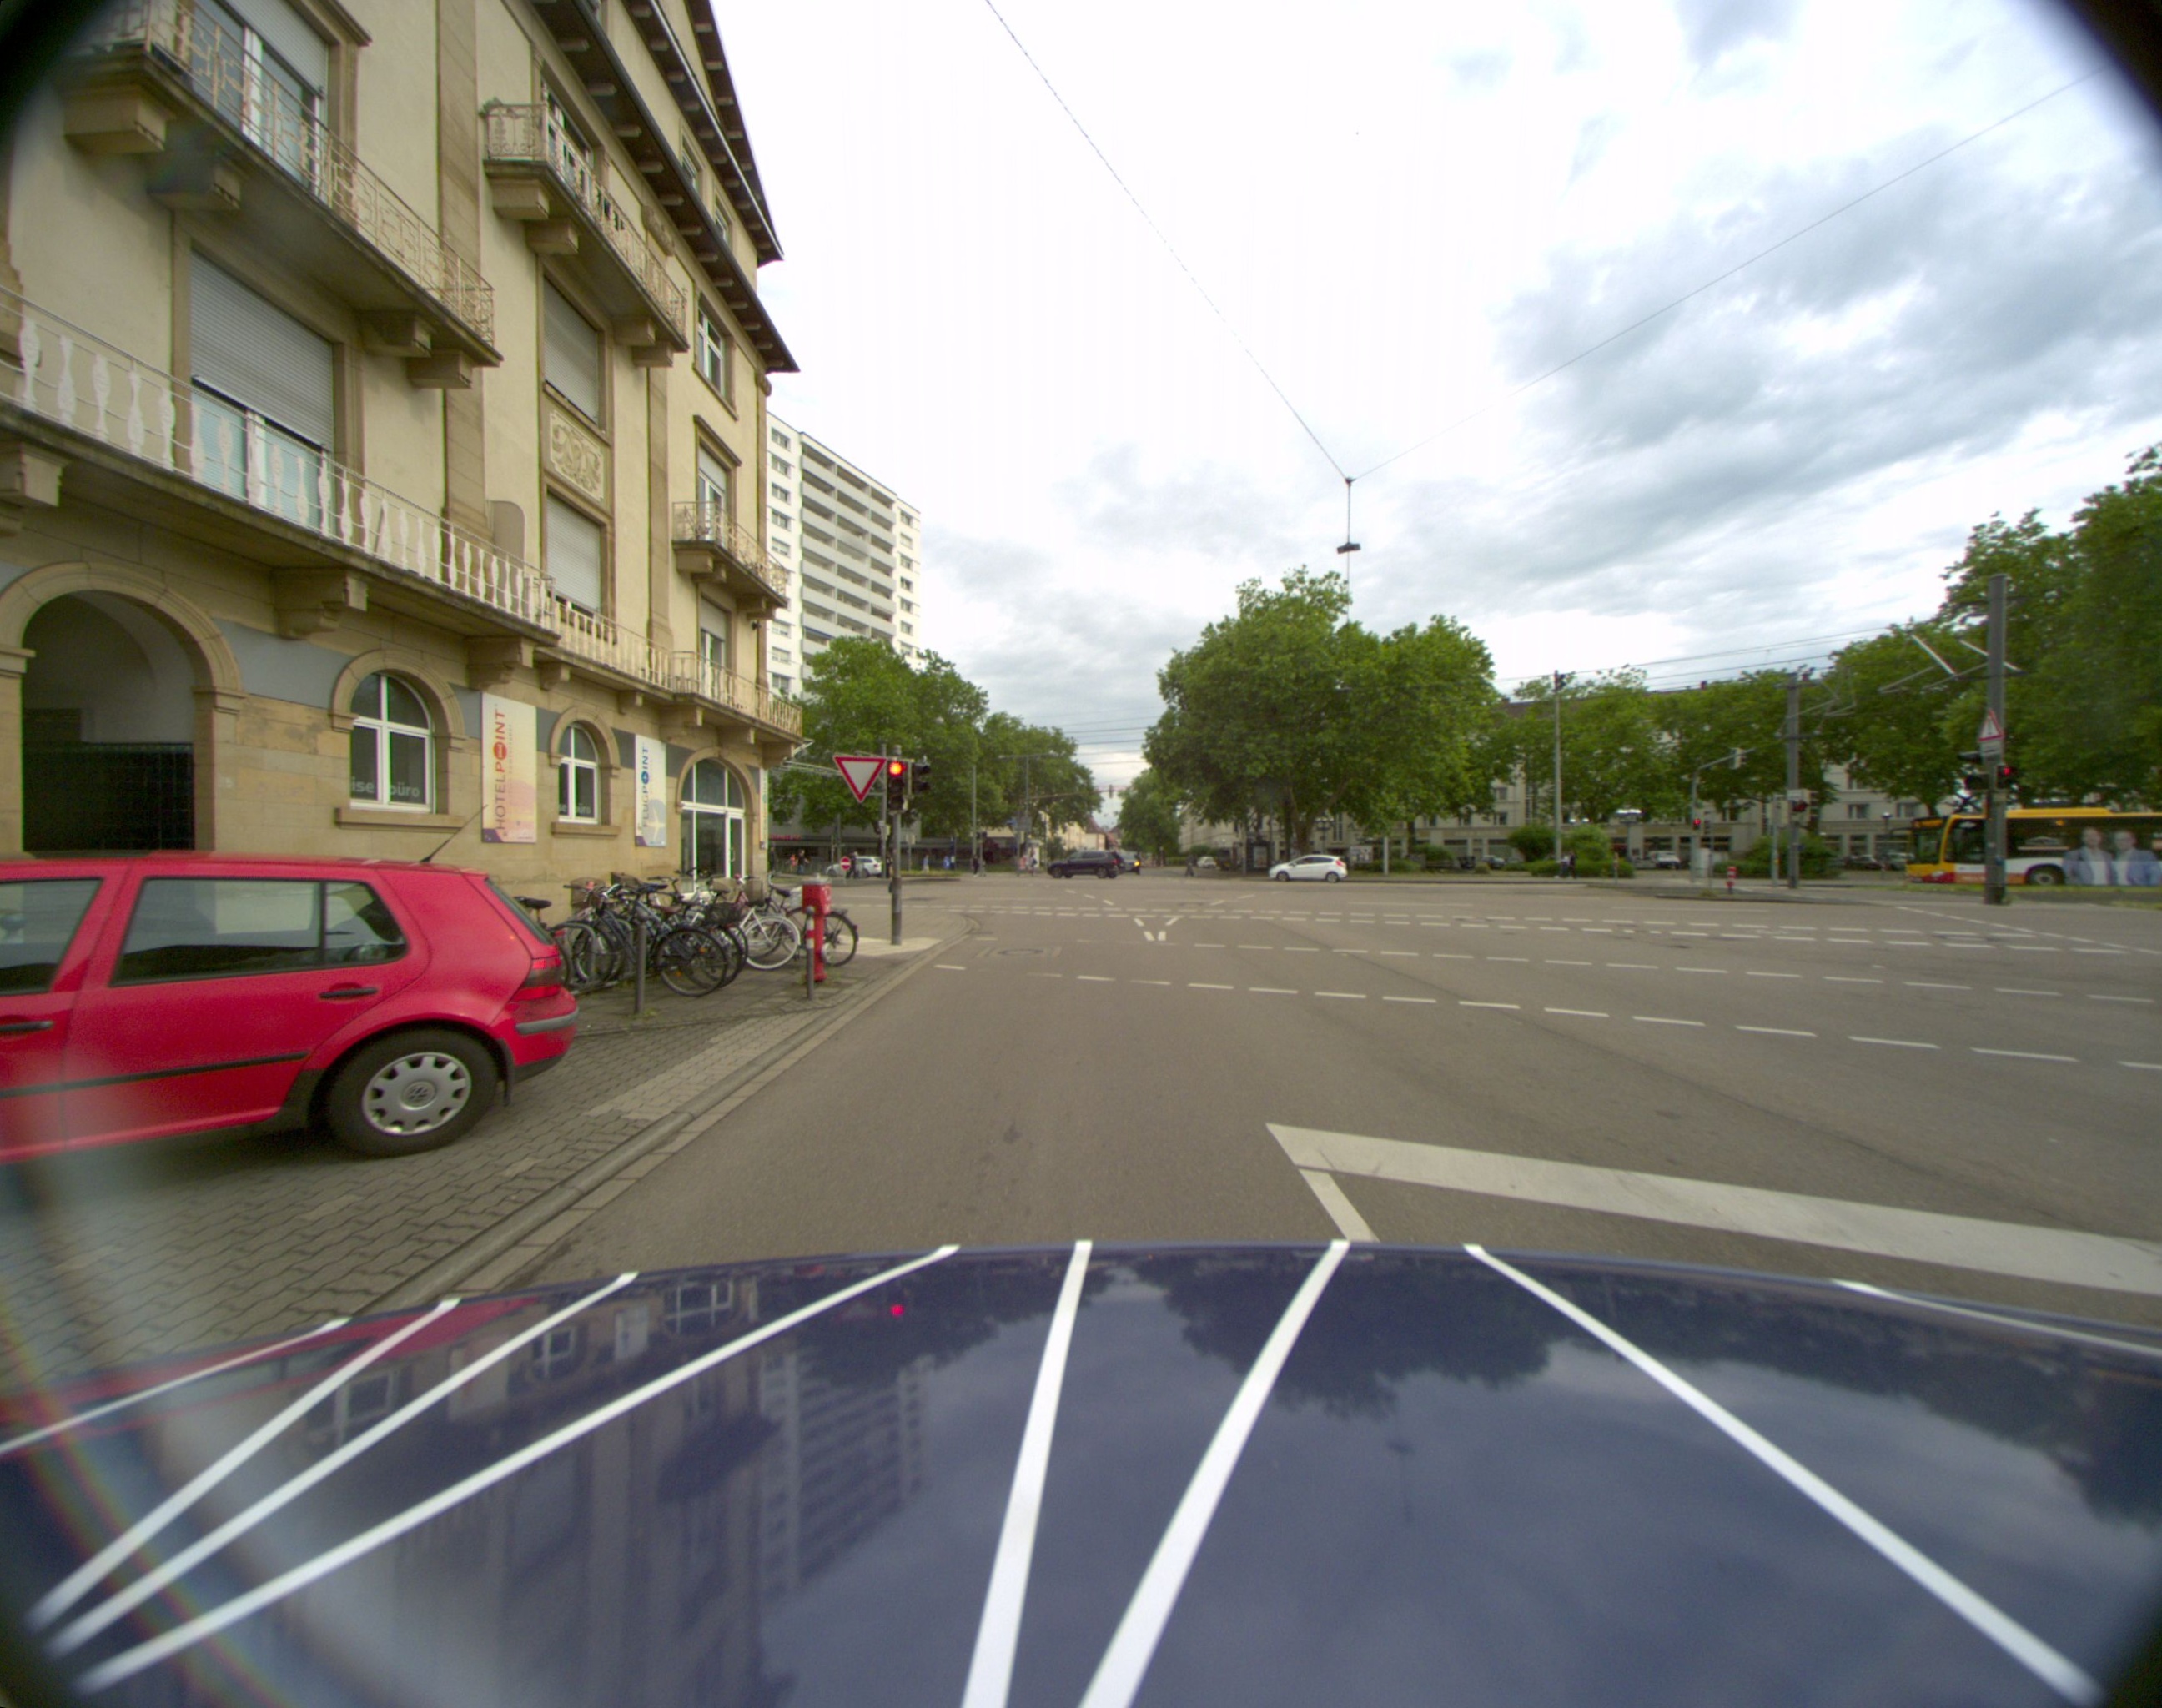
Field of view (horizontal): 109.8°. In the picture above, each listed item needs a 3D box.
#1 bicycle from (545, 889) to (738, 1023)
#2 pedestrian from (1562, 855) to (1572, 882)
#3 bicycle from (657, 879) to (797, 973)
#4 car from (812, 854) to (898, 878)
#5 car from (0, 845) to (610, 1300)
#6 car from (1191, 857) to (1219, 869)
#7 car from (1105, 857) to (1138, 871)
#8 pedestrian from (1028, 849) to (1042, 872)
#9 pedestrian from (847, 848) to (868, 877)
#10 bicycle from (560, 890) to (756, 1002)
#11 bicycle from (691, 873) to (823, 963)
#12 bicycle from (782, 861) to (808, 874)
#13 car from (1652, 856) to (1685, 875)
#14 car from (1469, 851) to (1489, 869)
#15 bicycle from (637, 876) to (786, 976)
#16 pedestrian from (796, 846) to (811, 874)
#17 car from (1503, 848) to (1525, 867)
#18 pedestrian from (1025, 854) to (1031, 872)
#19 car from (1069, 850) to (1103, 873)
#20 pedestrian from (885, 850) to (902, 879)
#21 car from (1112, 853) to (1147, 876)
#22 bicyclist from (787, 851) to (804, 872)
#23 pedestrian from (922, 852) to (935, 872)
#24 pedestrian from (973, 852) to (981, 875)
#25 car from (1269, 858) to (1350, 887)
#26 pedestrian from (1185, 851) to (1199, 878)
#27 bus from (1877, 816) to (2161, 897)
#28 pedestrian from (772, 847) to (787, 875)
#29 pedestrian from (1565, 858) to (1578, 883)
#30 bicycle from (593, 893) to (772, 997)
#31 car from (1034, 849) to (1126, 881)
[{"bbox_3d":[-4.244,0.974,7.384,1.571,1.166,0.476,2,2,-1],"label":"bicycle"},{"bbox_3d":[26.375,0.784,41.213,0.373,1.470,0.362,0,1,19],"label":"pedestrian"},{"bbox_3d":[-4.602,0.930,9.931,1.571,1.121,0.476,2,2,-1],"label":"bicycle"},{"bbox_3d":[-15.332,0.814,51.522,5.688,1.516,1.850,0,-1,23],"label":"car"},{"bbox_3d":[-4.522,0.780,3.286,1.789,1.552,3.843,4,1,44],"label":"car"},{"bbox_3d":[16.442,1.168,100.843,1.805,1.477,3.991,-1,0,-25],"label":"car"},{"bbox_3d":[4.986,1.255,93.218,1.994,1.654,4.842,0,0,32],"label":"car"},{"bbox_3d":[-3.373,0.462,55.385,0.754,1.680,0.808,0,1,21],"label":"pedestrian"},{"bbox_3d":[-13.235,0.499,45.083,0.876,1.686,0.744,0,2,26],"label":"pedestrian"},{"bbox_3d":[-4.365,0.939,7.895,1.737,1.033,0.476,2,2,-1],"label":"bicycle"},{"bbox_3d":[-4.424,0.870,10.432,1.571,1.121,0.476,2,2,-1],"label":"bicycle"},{"bbox_3d":[-22.375,1.056,59.472,1.988,1.058,0.731,0,-1,24],"label":"bicycle"},{"bbox_3d":[61.696,1.184,79.879,1.995,2.002,4.007,0,0,27],"label":"car"},{"bbox_3d":[45.904,0.688,87.624,1.995,2.002,4.007,0,0,27],"label":"car"},{"bbox_3d":[-4.556,0.883,9.414,1.571,1.121,0.476,2,2,-1],"label":"bicycle"},{"bbox_3d":[-17.373,0.368,47.545,0.547,1.741,0.623,0,2,26],"label":"pedestrian"},{"bbox_3d":[48.679,0.369,85.500,1.995,2.002,4.007,0,0,27],"label":"car"},{"bbox_3d":[-4.143,0.680,59.194,0.417,1.357,0.391,-1,2,-2],"label":"pedestrian"},{"bbox_3d":[0.466,0.638,61.754,1.660,1.708,3.746,0,-2,19],"label":"car"},{"bbox_3d":[-11.206,0.627,45.386,0.626,1.740,0.657,0,2,27],"label":"pedestrian"},{"bbox_3d":[3.924,0.870,61.308,1.908,1.708,3.746,0,-2,19],"label":"car"},{"bbox_3d":[-22.349,0.572,59.461,0.991,1.627,0.709,0,-1,24],"label":"bicyclist"},{"bbox_3d":[-11.785,0.597,58.765,0.851,1.500,0.555,0,2,31],"label":"pedestrian"},{"bbox_3d":[-7.364,0.675,53.882,0.524,1.603,0.526,-1,2,-7],"label":"pedestrian"},{"bbox_3d":[12.063,0.951,40.162,3.880,1.390,1.710,0,2,26],"label":"car"},{"bbox_3d":[8.042,0.749,55.130,0.689,1.876,0.687,-2,2,-24],"label":"pedestrian"},{"bbox_3d":[38.609,0.045,28.027,12.348,2.840,3.297,0,2,26],"label":"bus"},{"bbox_3d":[-19.617,0.437,49.460,0.533,1.779,0.623,0,2,26],"label":"pedestrian"},{"bbox_3d":[26.188,0.865,40.570,0.469,1.318,0.457,0,1,19],"label":"pedestrian"},{"bbox_3d":[-4.458,1.009,8.546,1.737,1.033,0.476,2,2,-1],"label":"bicycle"},{"bbox_3d":[-0.095,0.652,44.708,5.136,1.773,1.710,0,2,26],"label":"car"}]
